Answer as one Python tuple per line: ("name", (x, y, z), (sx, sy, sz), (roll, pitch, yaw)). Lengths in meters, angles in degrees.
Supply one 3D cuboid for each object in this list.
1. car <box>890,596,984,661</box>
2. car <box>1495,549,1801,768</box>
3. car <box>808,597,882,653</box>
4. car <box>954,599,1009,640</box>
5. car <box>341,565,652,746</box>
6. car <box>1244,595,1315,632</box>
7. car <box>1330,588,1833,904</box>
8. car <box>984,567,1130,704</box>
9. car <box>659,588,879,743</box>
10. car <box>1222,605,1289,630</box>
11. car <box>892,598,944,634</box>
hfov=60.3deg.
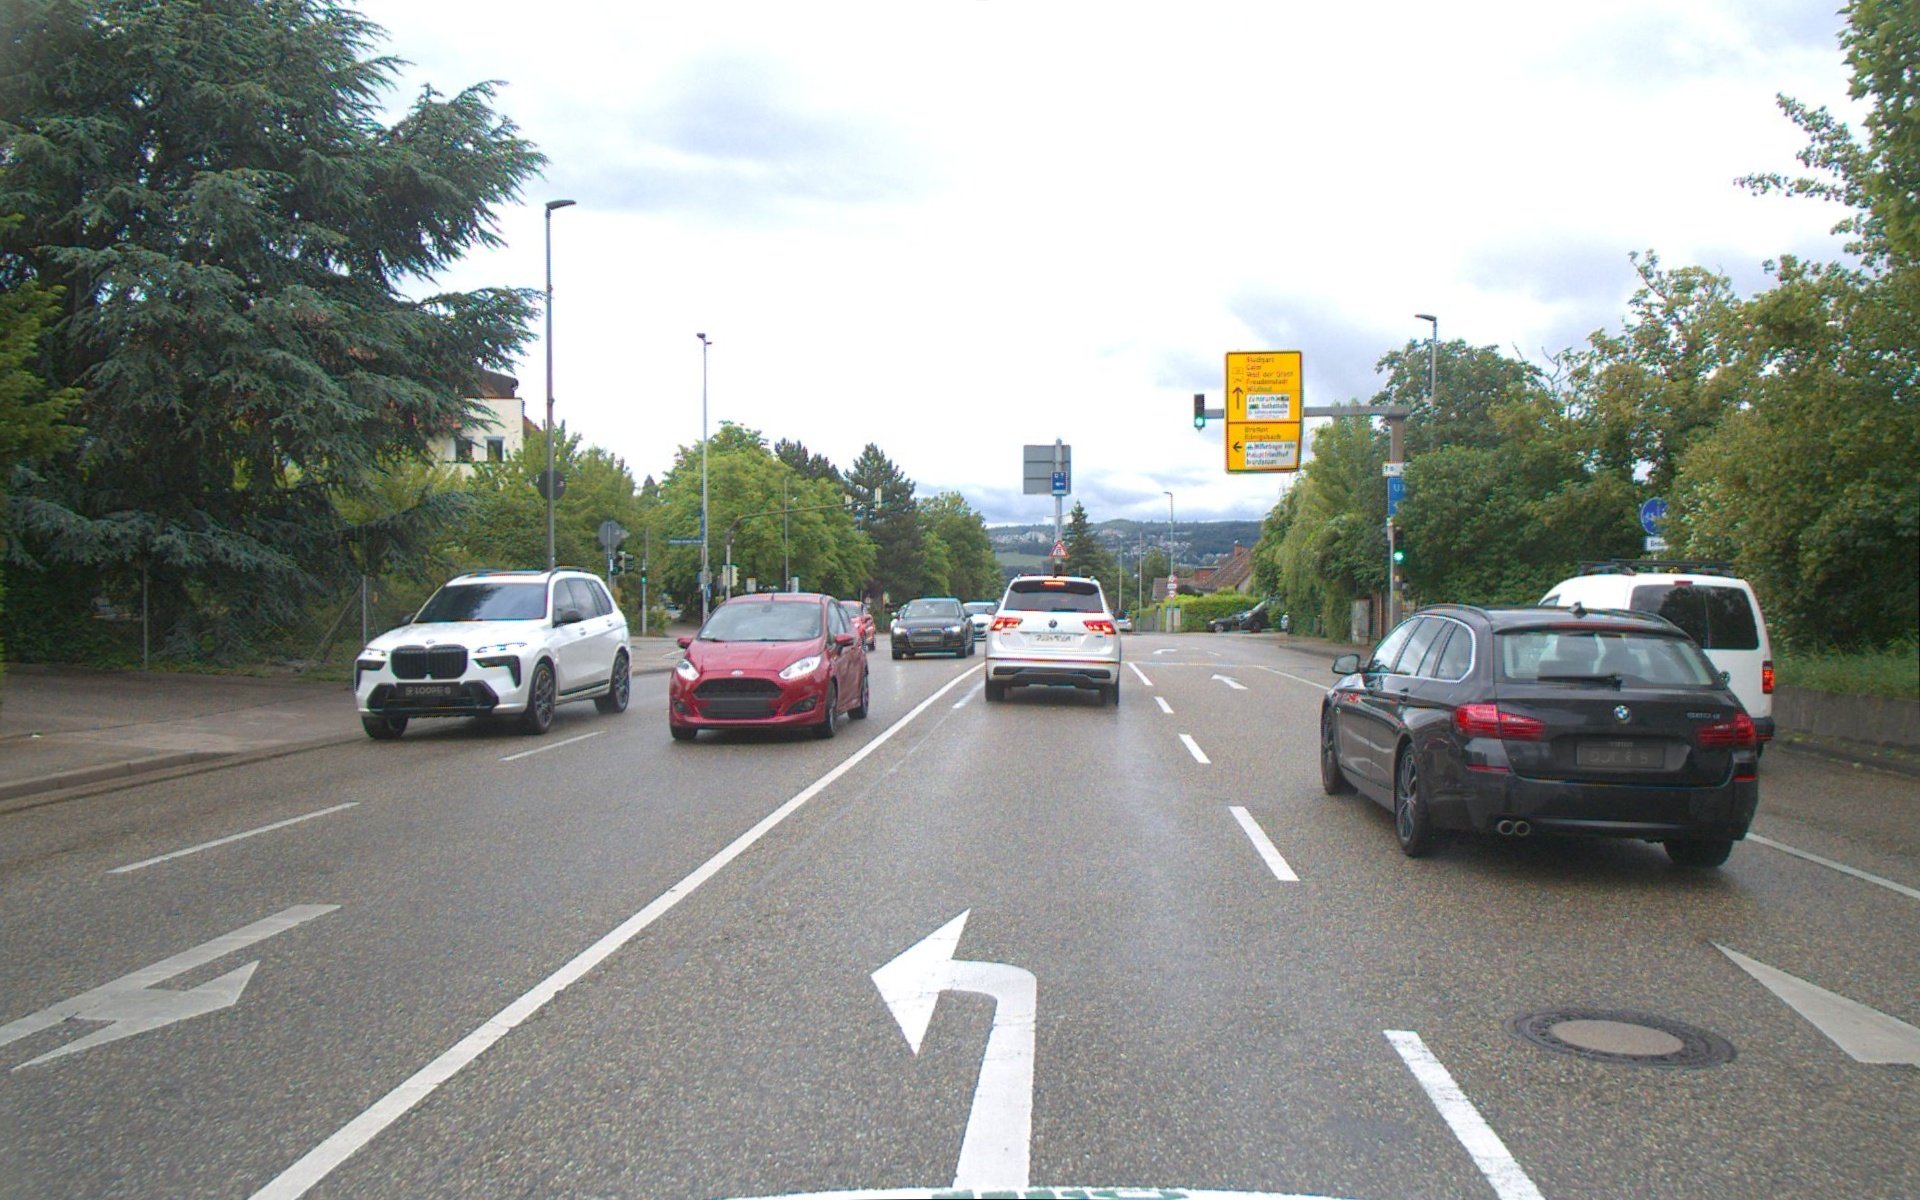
("car", (-0.506, 0.654, 40.257), (1.853, 1.428, 4.267), (-1, 0, 5))
("car", (6.907, 0.477, 17.044), (1.727, 1.909, 3.808), (1, 3, 4))
("car", (-3.269, 0.699, 47.581), (1.598, 1.482, 3.704), (-2, 0, 3))
("car", (0.848, 0.710, 62.707), (1.712, 1.409, 4.413), (-2, 0, 5))
("car", (-5.285, 0.557, 19.697), (1.877, 1.793, 5.146), (-2, 0, 4))
("car", (18.296, 0.749, 94.829), (3.902, 1.990, 1.586), (1, 0, 7))
("car", (3.648, 0.735, 10.545), (1.859, 1.466, 4.002), (3, 1, 4))
("car", (1.360, 0.468, 22.955), (1.829, 1.703, 4.002), (1, -1, 4))
("car", (-1.952, 0.623, 17.948), (1.646, 1.444, 3.843), (-2, 0, 4))
("car", (17.959, 1.058, 100.592), (3.902, 1.400, 1.586), (1, 0, 7))
("car", (-1.706, 0.627, 68.143), (1.737, 1.409, 4.551), (-1, 0, 4))
